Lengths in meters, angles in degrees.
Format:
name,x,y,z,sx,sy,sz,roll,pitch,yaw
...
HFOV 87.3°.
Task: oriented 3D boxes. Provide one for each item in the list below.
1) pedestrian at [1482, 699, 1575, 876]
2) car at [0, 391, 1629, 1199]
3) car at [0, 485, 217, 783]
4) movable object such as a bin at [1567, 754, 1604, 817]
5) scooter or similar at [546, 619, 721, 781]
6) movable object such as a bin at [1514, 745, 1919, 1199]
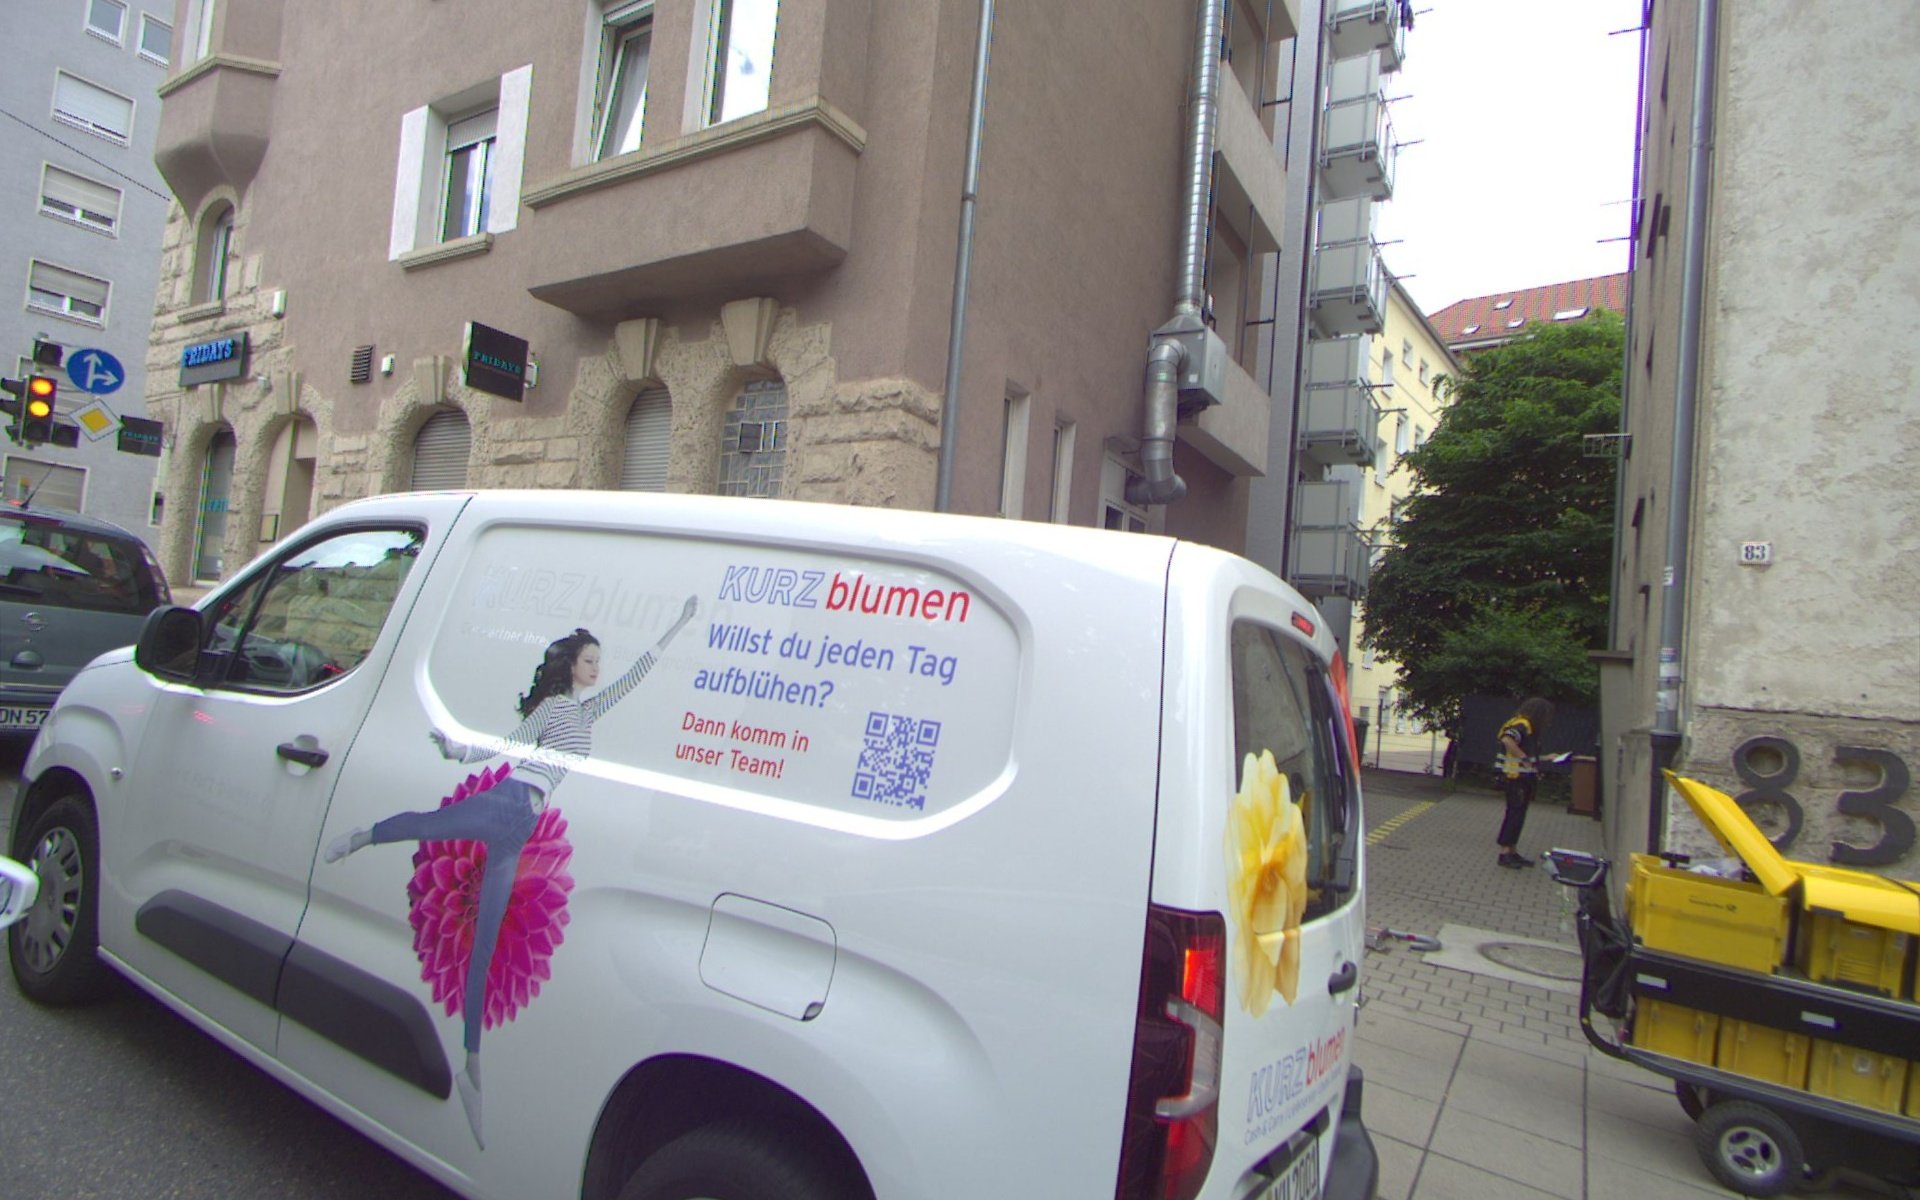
name,x,y,z,sx,sy,sz,roll,pitch,yaw
pedestrian,5.814,1.866,10.277,0.772,1.665,0.809,0,-3,32
car,-0.859,0.582,3.127,4.598,1.793,1.983,6,-5,30
car,-6.715,0.044,6.526,3.608,1.614,1.634,6,-5,32
movable object such as a bin,9.929,2.939,15.975,0.405,0.922,0.340,6,-1,32
scooter or similar,-2.735,0.806,8.380,1.400,1.117,0.527,6,-1,34
movable object such as a bin,3.397,1.457,3.979,1.979,1.391,1.223,6,0,30
